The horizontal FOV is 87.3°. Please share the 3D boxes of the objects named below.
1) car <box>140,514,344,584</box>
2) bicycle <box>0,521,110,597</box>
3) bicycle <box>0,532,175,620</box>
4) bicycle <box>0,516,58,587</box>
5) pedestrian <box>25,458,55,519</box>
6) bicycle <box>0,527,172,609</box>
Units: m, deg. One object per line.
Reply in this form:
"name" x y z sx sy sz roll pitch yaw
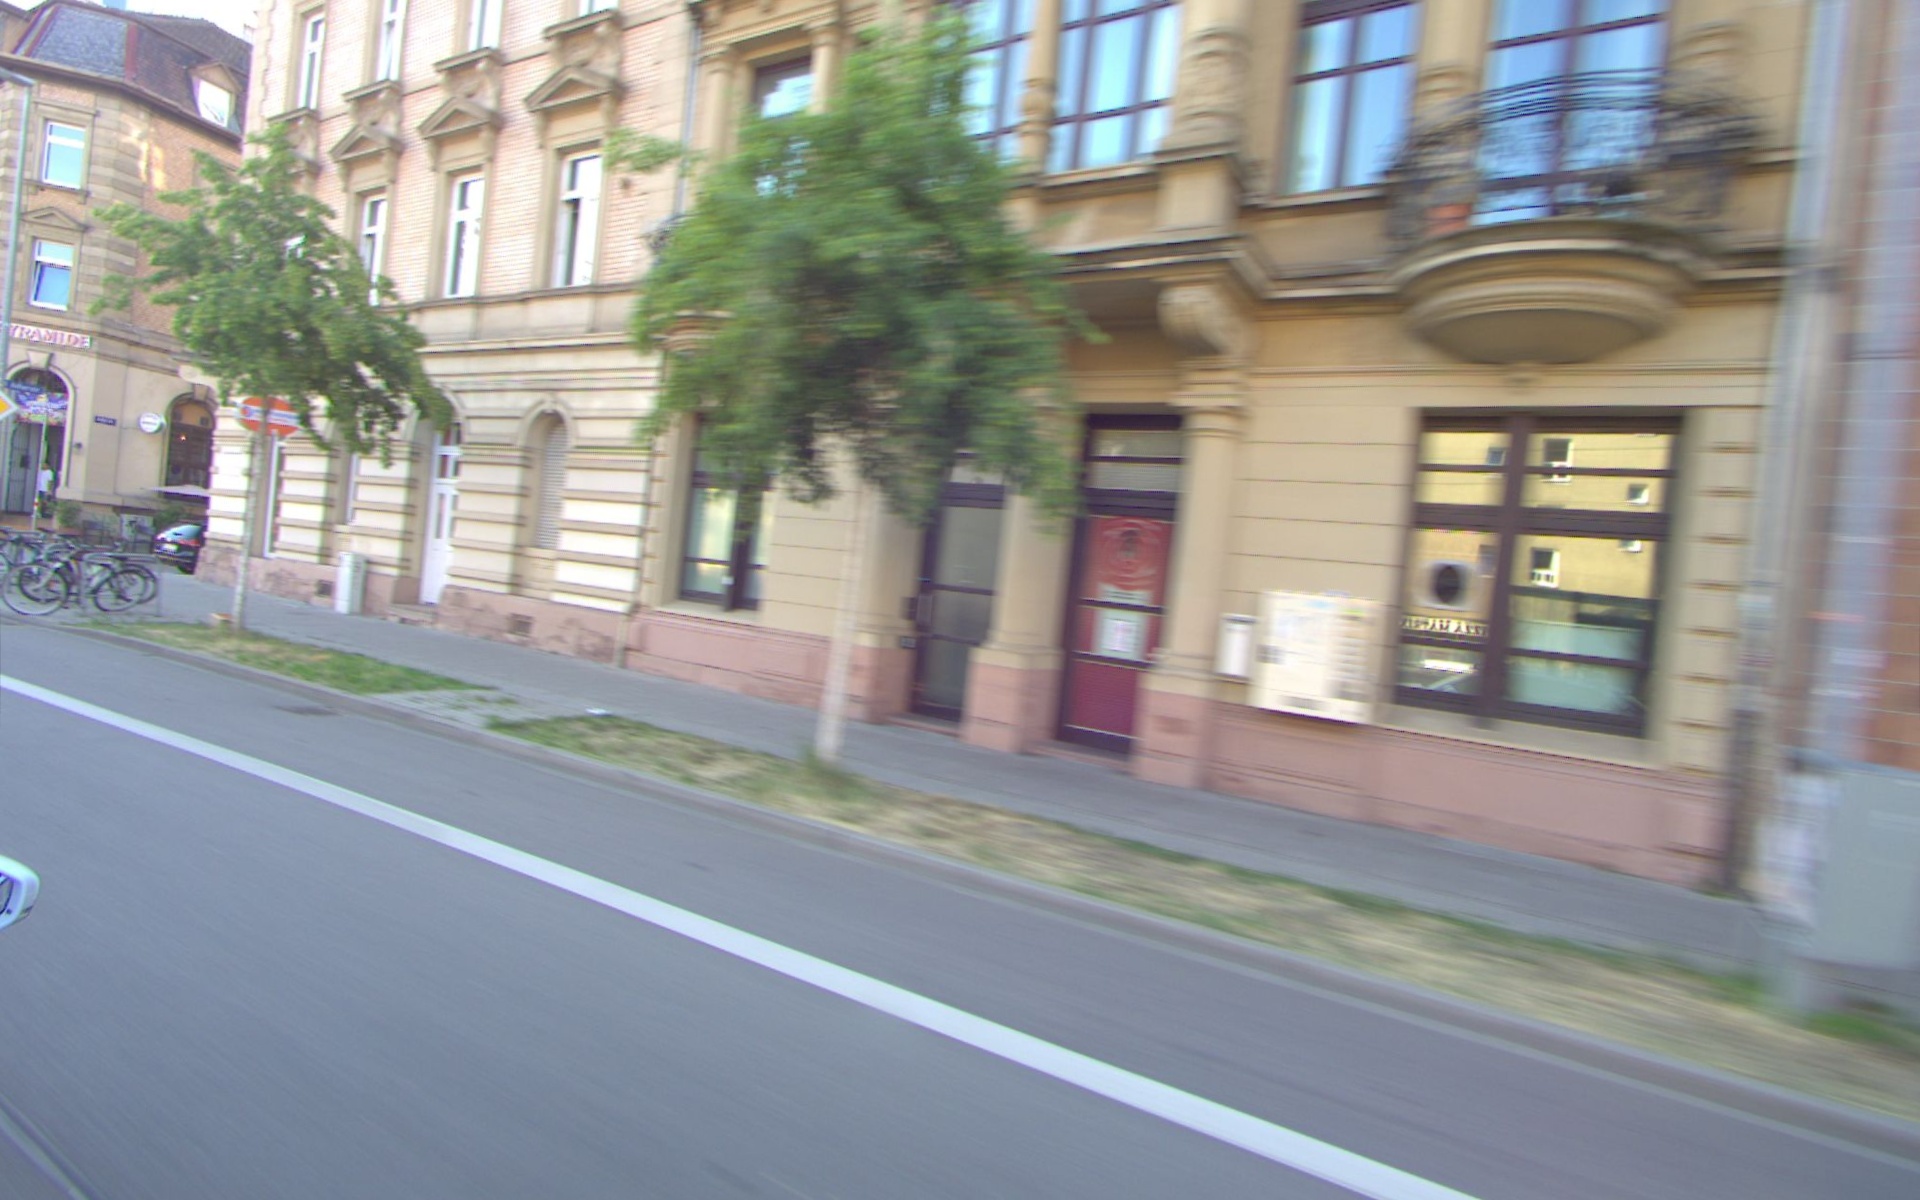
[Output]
"car" -18.840 -1.297 26.637 1.588 1.405 4.153 5 0 20
"bicycle" -14.198 -0.620 15.292 0.652 1.079 1.827 8 4 26
"bicycle" -11.976 -0.319 13.761 0.652 1.079 1.827 8 4 26
"bicycle" -15.536 -0.798 15.862 0.652 1.079 1.827 8 4 26
"pedestrian" -27.649 -3.348 30.246 0.443 1.762 0.538 5 1 -31
"bicycle" -12.880 -0.446 14.859 0.652 1.079 1.827 8 4 26
